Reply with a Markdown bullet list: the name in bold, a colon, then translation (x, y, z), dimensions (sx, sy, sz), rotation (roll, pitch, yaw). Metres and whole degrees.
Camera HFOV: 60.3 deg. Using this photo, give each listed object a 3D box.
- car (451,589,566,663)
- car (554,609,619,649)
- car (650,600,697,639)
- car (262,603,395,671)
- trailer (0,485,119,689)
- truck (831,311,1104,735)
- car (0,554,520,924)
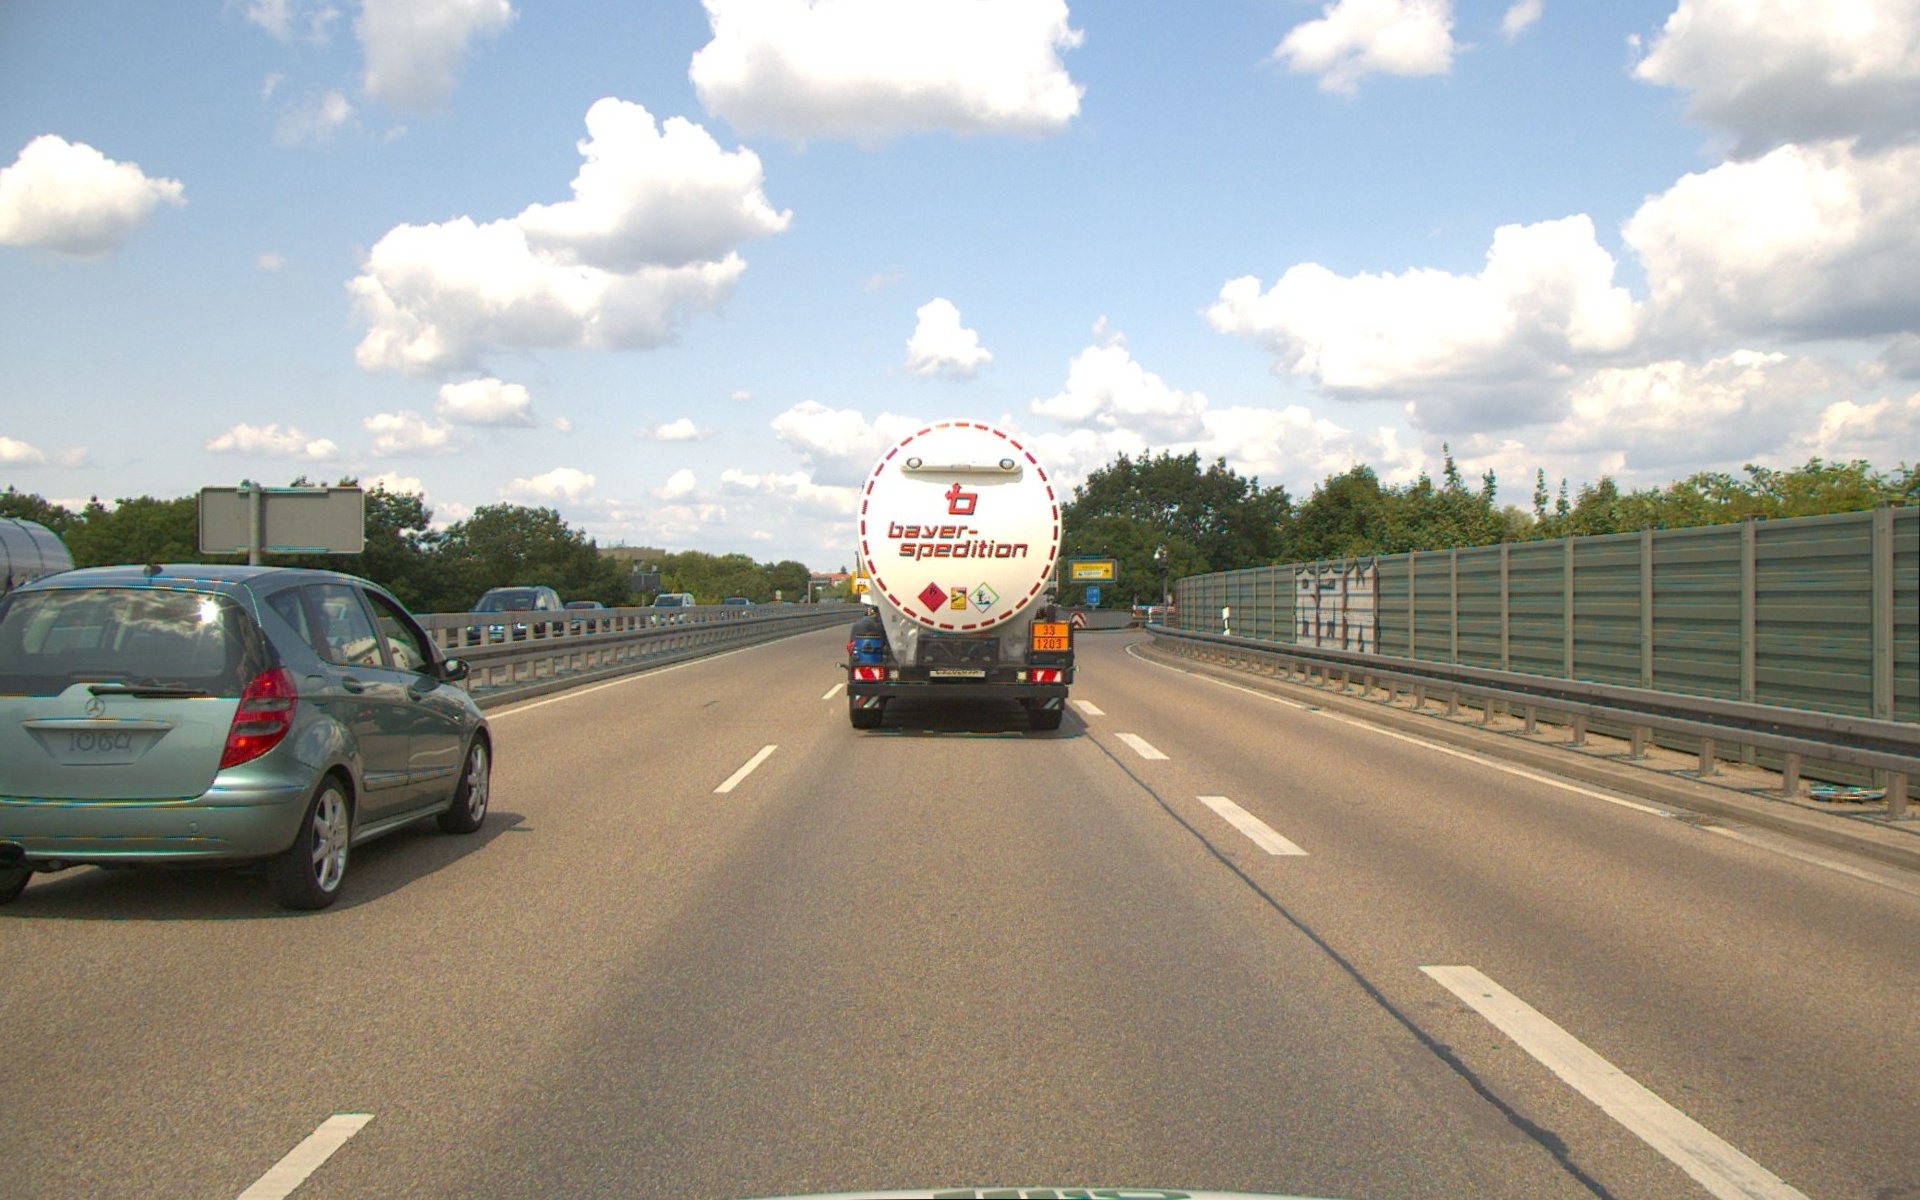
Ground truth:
- **car**: translation (-11.483, 0.630, 42.359), dimensions (1.954, 1.780, 4.592), rotation (1, 0, -4)
- **car**: translation (-15.928, 1.219, 70.669), dimensions (1.885, 1.601, 4.243), rotation (-2, 0, -2)
- **car**: translation (-15.597, 1.043, 90.302), dimensions (1.921, 1.959, 5.189), rotation (1, 1, -3)
- **car**: translation (-15.235, 0.861, 40.087), dimensions (1.746, 1.535, 3.958), rotation (1, 0, -1)
- **trailer**: translation (-18.856, -0.260, 29.339), dimensions (2.631, 3.734, 11.023), rotation (1, 0, -3)
- **truck**: translation (0.001, -0.804, 21.543), dimensions (2.836, 4.445, 8.027), rotation (1, 0, -1)
- **car**: translation (-3.751, 0.578, 8.984), dimensions (1.712, 1.558, 3.999), rotation (0, 0, -1)
